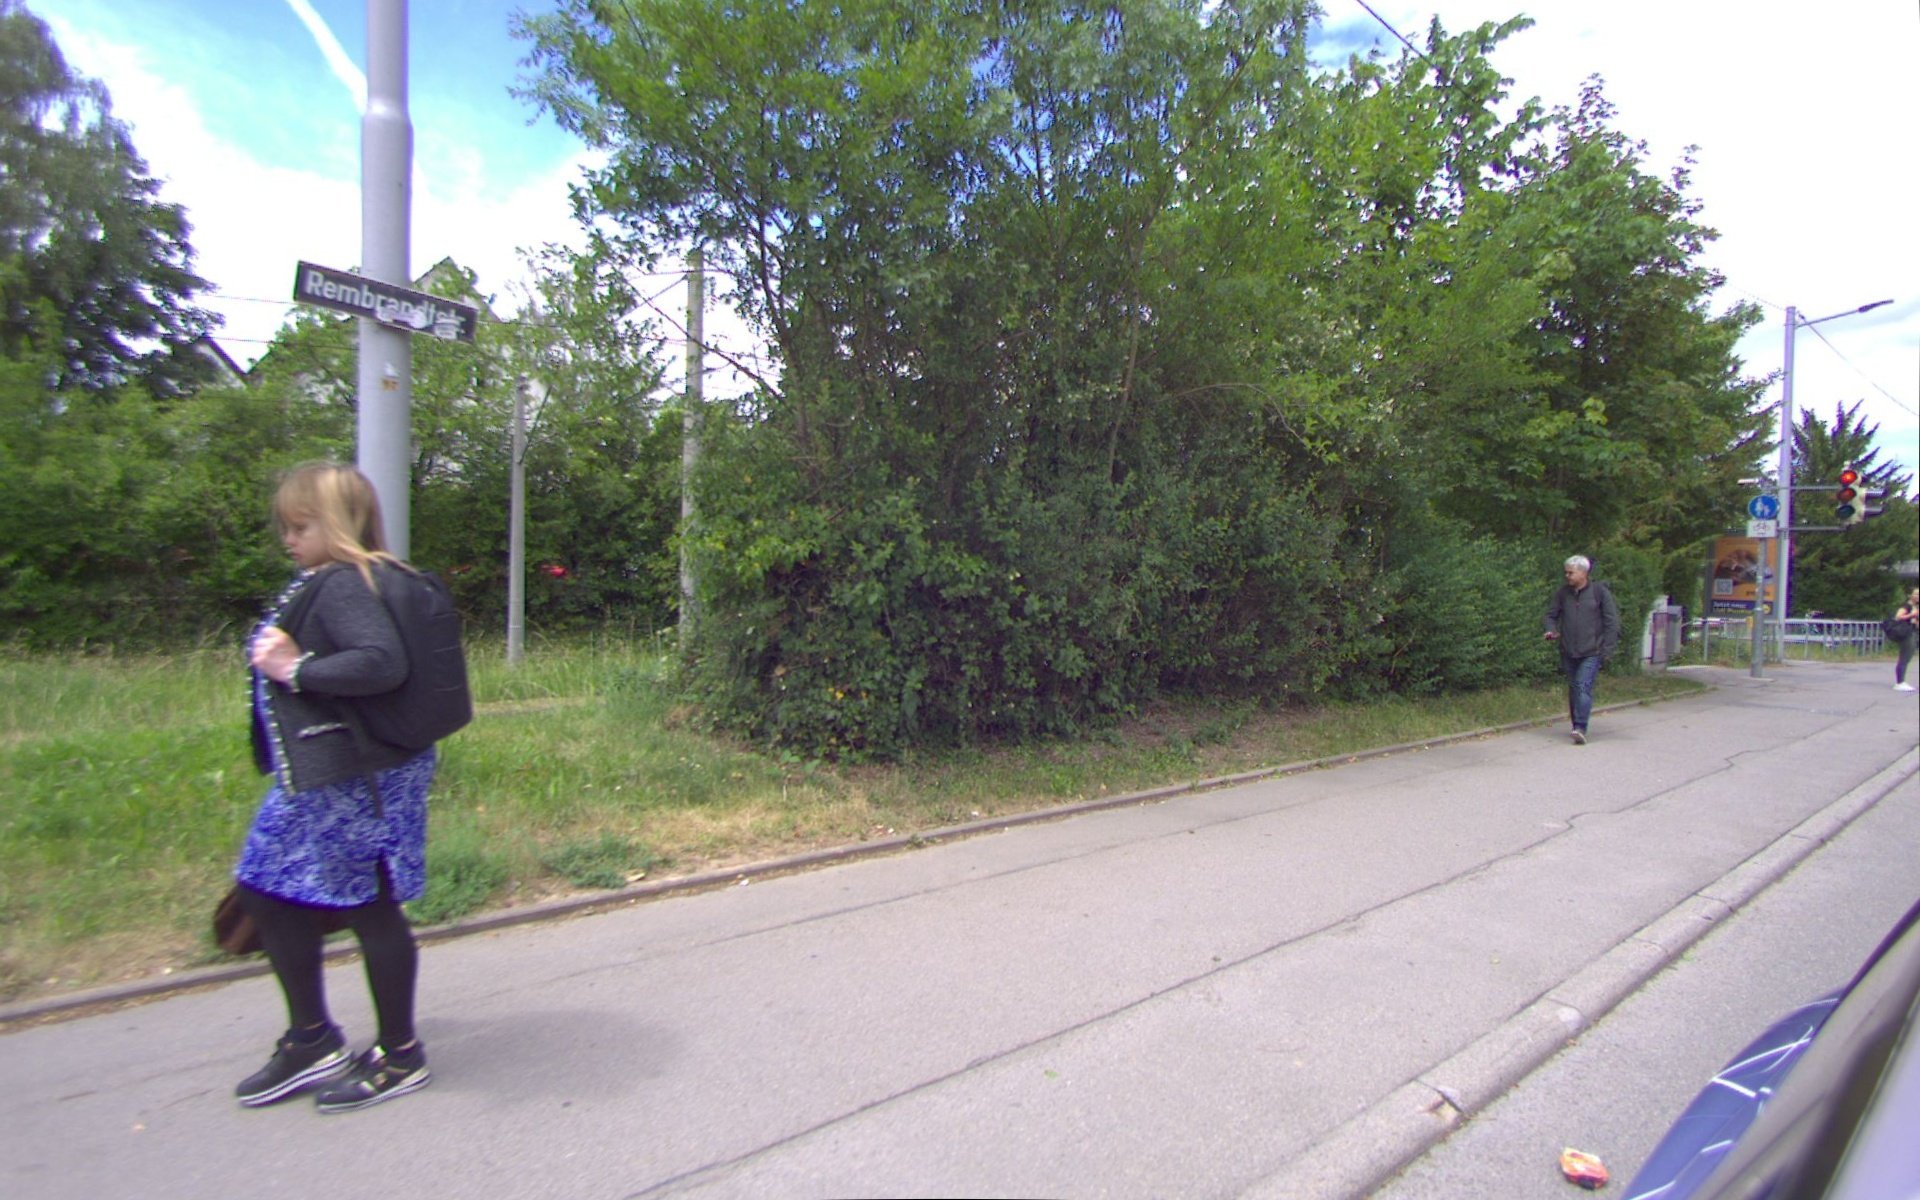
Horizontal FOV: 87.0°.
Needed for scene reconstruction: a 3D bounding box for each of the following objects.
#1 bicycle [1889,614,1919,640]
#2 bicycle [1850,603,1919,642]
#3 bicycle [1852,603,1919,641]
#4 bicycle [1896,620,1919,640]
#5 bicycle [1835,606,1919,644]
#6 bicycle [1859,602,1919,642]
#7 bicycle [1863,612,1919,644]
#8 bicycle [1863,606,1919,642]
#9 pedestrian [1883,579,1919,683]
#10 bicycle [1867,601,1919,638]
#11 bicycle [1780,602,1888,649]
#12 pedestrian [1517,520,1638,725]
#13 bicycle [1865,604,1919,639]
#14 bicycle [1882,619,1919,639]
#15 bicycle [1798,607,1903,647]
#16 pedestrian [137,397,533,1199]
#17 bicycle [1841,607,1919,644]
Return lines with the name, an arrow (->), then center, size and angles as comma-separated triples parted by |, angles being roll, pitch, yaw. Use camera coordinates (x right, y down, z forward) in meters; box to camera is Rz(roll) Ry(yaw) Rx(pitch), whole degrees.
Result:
bicycle -> 32.927, 0.931, 34.306 | 0.442, 0.836, 2.084 | 0, 1, -33
bicycle -> 28.563, 0.682, 30.922 | 0.441, 1.060, 2.101 | 0, 3, -19
bicycle -> 30.270, 0.709, 32.579 | 0.443, 1.060, 2.206 | 0, 5, -41
bicycle -> 31.709, 0.991, 33.043 | 1.675, 0.647, 0.327 | 1, 1, 40
bicycle -> 27.411, 0.742, 30.064 | 0.443, 1.060, 2.091 | 0, 1, -41
bicycle -> 29.261, 0.673, 31.327 | 0.521, 1.165, 2.092 | 0, 1, -41
bicycle -> 29.697, 0.878, 31.604 | 0.443, 0.950, 2.204 | 0, 1, -42
bicycle -> 30.013, 0.763, 31.947 | 0.443, 1.060, 2.205 | 0, 2, -41
pedestrian -> 15.696, 0.493, 16.623 | 0.695, 1.685, 0.650 | 0, 0, -35
bicycle -> 31.050, 0.650, 32.936 | 0.442, 1.163, 2.209 | 0, 2, -33
bicycle -> 23.295, 0.648, 27.022 | 0.536, 1.094, 2.095 | 0, 3, -36
pedestrian -> 6.052, 0.203, 9.928 | 0.786, 1.906, 0.748 | 0, 0, -34
bicycle -> 30.740, 0.710, 32.652 | 0.442, 1.060, 2.209 | 0, 2, -33
bicycle -> 31.777, 0.967, 33.379 | 1.979, 0.647, 0.327 | 1, 1, 40
bicycle -> 24.434, 0.718, 27.807 | 0.548, 1.061, 2.094 | 0, 0, -36
pedestrian -> -1.597, 0.424, 2.600 | 0.752, 1.680, 0.842 | 0, 0, -36
bicycle -> 27.860, 0.757, 30.377 | 0.443, 1.060, 2.091 | 0, 1, -41
